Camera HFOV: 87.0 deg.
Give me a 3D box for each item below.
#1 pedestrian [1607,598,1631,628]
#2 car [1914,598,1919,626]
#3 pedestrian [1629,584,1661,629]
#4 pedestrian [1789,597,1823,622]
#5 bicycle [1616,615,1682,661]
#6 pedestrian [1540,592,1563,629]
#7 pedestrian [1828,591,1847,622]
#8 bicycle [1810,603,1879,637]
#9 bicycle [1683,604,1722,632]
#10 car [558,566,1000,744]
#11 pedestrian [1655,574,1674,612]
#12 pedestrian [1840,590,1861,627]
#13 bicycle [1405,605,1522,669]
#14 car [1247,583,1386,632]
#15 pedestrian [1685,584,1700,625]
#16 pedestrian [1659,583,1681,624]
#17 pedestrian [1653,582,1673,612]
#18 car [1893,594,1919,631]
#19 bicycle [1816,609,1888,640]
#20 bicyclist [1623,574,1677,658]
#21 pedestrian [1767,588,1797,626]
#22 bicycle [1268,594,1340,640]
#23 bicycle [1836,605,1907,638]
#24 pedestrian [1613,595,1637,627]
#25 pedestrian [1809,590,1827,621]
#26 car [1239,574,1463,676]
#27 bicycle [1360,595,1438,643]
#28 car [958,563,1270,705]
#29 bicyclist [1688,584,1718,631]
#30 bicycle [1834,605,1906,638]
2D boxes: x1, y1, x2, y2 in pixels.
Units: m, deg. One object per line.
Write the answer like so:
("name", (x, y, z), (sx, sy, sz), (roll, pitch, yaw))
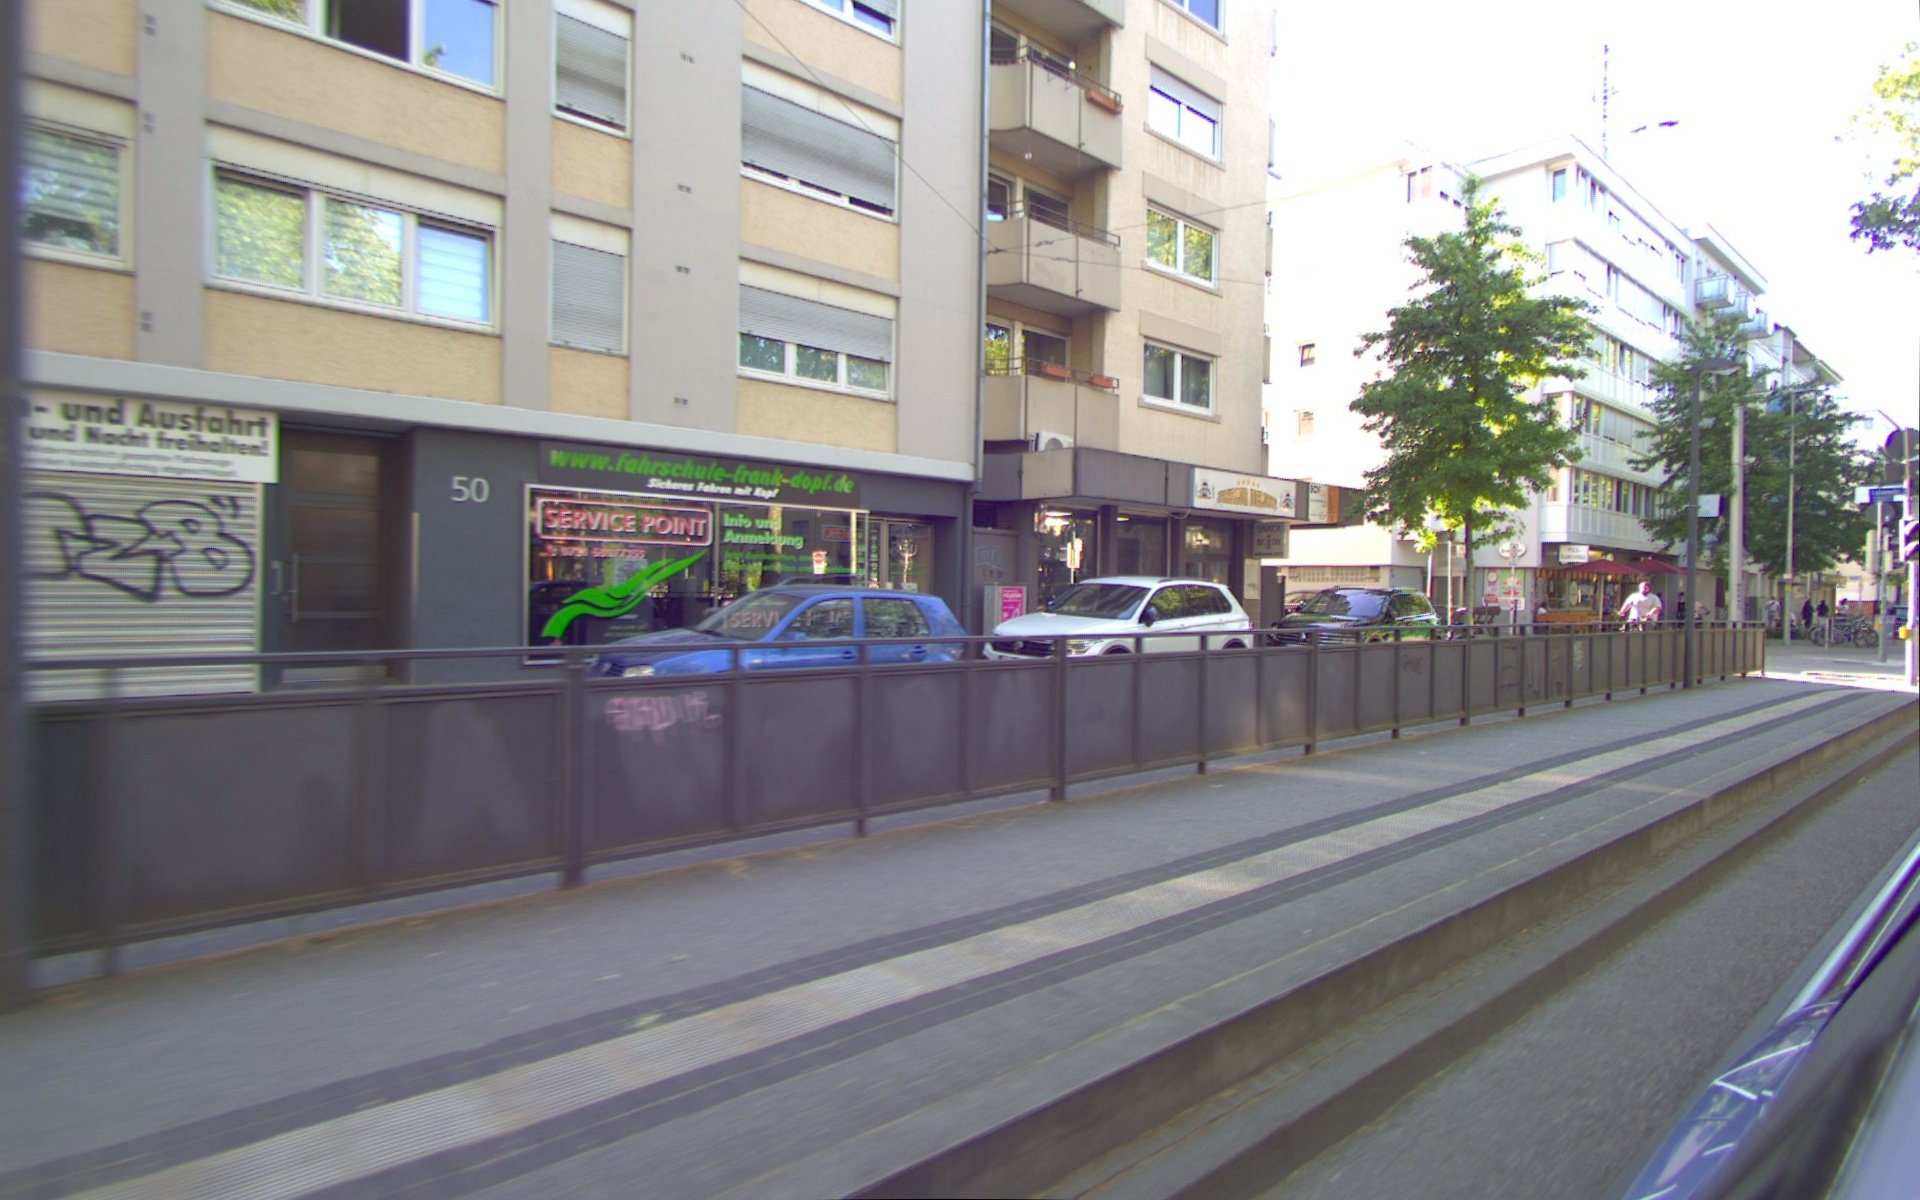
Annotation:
("pedestrian", (24.584, 0.483, 37.733), (0.513, 1.092, 0.642), (0, 0, -42))
("car", (53.531, 0.669, 55.395), (3.825, 1.500, 1.624), (0, 3, -44))
("pedestrian", (26.295, 0.235, 38.856), (0.665, 1.680, 0.815), (0, 0, -25))
("pedestrian", (36.068, 0.400, 43.161), (0.649, 1.040, 1.001), (0, 0, -39))
("bicycle", (15.668, 0.851, 22.997), (1.905, 0.949, 0.790), (0, 0, -41))
("pedestrian", (21.515, 0.373, 36.801), (0.703, 1.303, 0.536), (0, 0, -39))
("pedestrian", (49.230, 0.366, 56.772), (0.855, 1.658, 0.643), (1, 2, -43))
("bicycle", (31.877, 0.705, 36.493), (0.516, 1.114, 1.818), (0, 1, -41))
("bicycle", (27.648, 0.653, 37.662), (1.985, 0.975, 0.678), (0, 0, -39))
("car", (-1.700, 0.427, 10.352), (4.172, 1.458, 1.747), (-1, 1, -41))
("pedestrian", (30.221, -0.300, 43.410), (0.500, 1.649, 0.516), (0, 0, 12))
("pedestrian", (45.423, 0.444, 51.614), (0.650, 1.875, 0.540), (0, 0, -21))
("bicycle", (10.310, 0.727, 20.816), (0.668, 1.202, 2.134), (0, 0, -32))
("car", (12.510, 0.203, 35.719), (1.933, 1.612, 4.255), (-2, 2, -41))
("pedestrian", (32.705, 0.206, 45.176), (0.481, 1.819, 0.432), (0, 0, -42))
("pedestrian", (31.531, 0.160, 44.943), (0.620, 1.828, 0.526), (0, 0, 3))
("pedestrian", (30.232, -0.140, 43.500), (0.501, 1.292, 0.624), (0, 0, 12))
("car", (45.569, 0.600, 47.767), (4.254, 1.606, 1.763), (0, 5, -42))
("bicycle", (30.328, 0.817, 34.434), (0.473, 1.007, 1.817), (0, 0, -42))
("bicyclist", (15.704, 0.346, 23.018), (1.080, 1.854, 0.768), (0, 0, -41))
("pedestrian", (38.676, 0.322, 47.612), (0.581, 1.806, 0.995), (0, 0, 1))
("bicycle", (9.694, 0.460, 28.573), (0.503, 1.223, 1.915), (-1, 1, -44))
("bicycle", (31.802, 0.728, 35.343), (1.814, 1.114, 0.474), (0, 0, 42))
("pedestrian", (25.386, 0.408, 38.615), (0.513, 1.190, 0.659), (0, 0, -42))
("pedestrian", (48.649, 0.323, 57.397), (0.919, 1.698, 0.597), (0, 3, -43))
("car", (7.196, 0.382, 18.445), (4.367, 1.636, 1.997), (-1, 1, -41))
("bicycle", (12.087, 0.507, 27.921), (0.502, 1.223, 1.916), (2, 1, -44))
("car", (2.194, 0.369, 13.690), (4.338, 1.626, 1.803), (-1, 1, -41))
("bicyclist", (27.620, 0.276, 37.637), (0.948, 1.739, 0.678), (0, 0, -39))
("bicycle", (31.233, 0.726, 34.766), (1.814, 1.114, 0.490), (0, 0, 42))
